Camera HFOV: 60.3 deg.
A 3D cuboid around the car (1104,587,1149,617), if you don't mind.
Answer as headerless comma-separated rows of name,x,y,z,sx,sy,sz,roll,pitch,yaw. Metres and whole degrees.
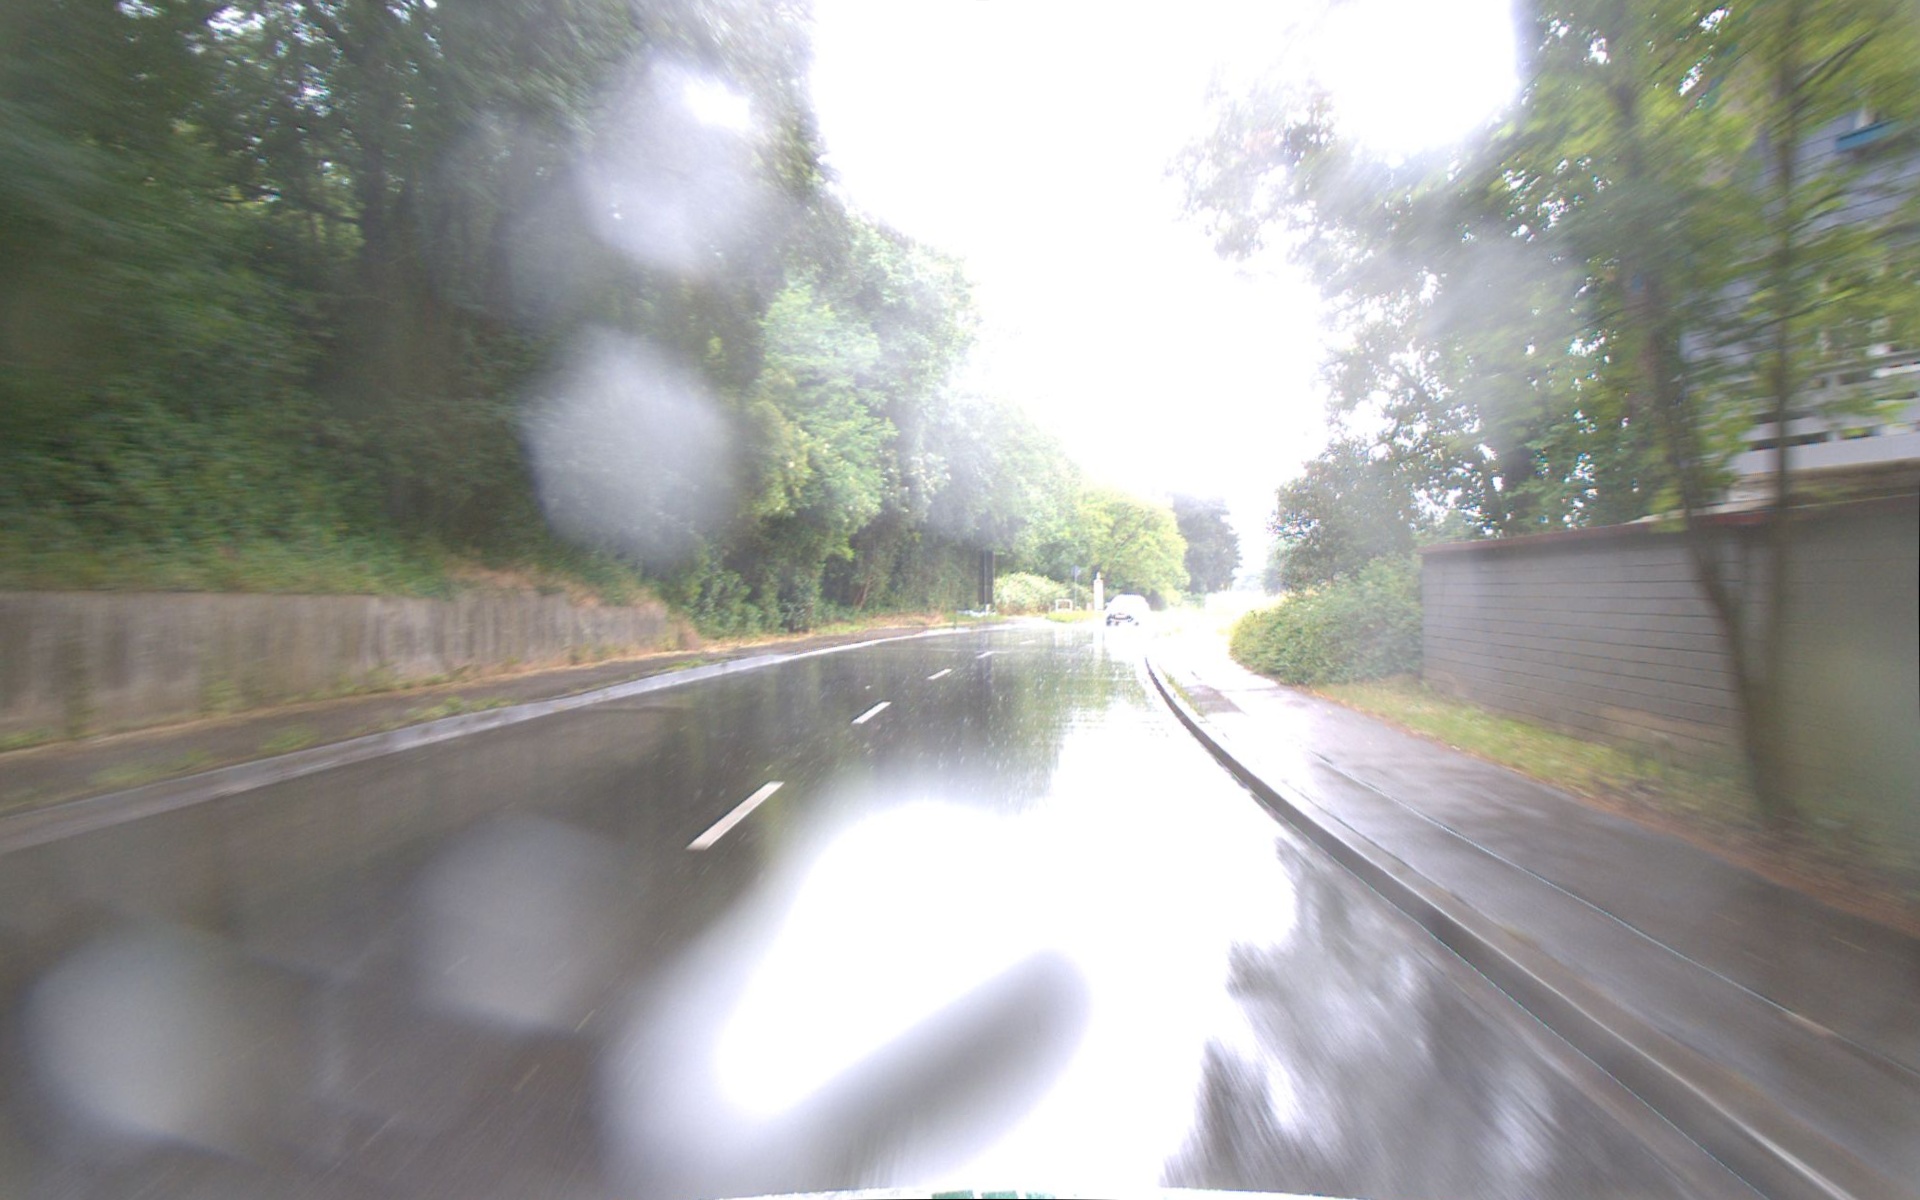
car,8.485,0.080,83.838,1.748,1.443,4.638,1,1,12
